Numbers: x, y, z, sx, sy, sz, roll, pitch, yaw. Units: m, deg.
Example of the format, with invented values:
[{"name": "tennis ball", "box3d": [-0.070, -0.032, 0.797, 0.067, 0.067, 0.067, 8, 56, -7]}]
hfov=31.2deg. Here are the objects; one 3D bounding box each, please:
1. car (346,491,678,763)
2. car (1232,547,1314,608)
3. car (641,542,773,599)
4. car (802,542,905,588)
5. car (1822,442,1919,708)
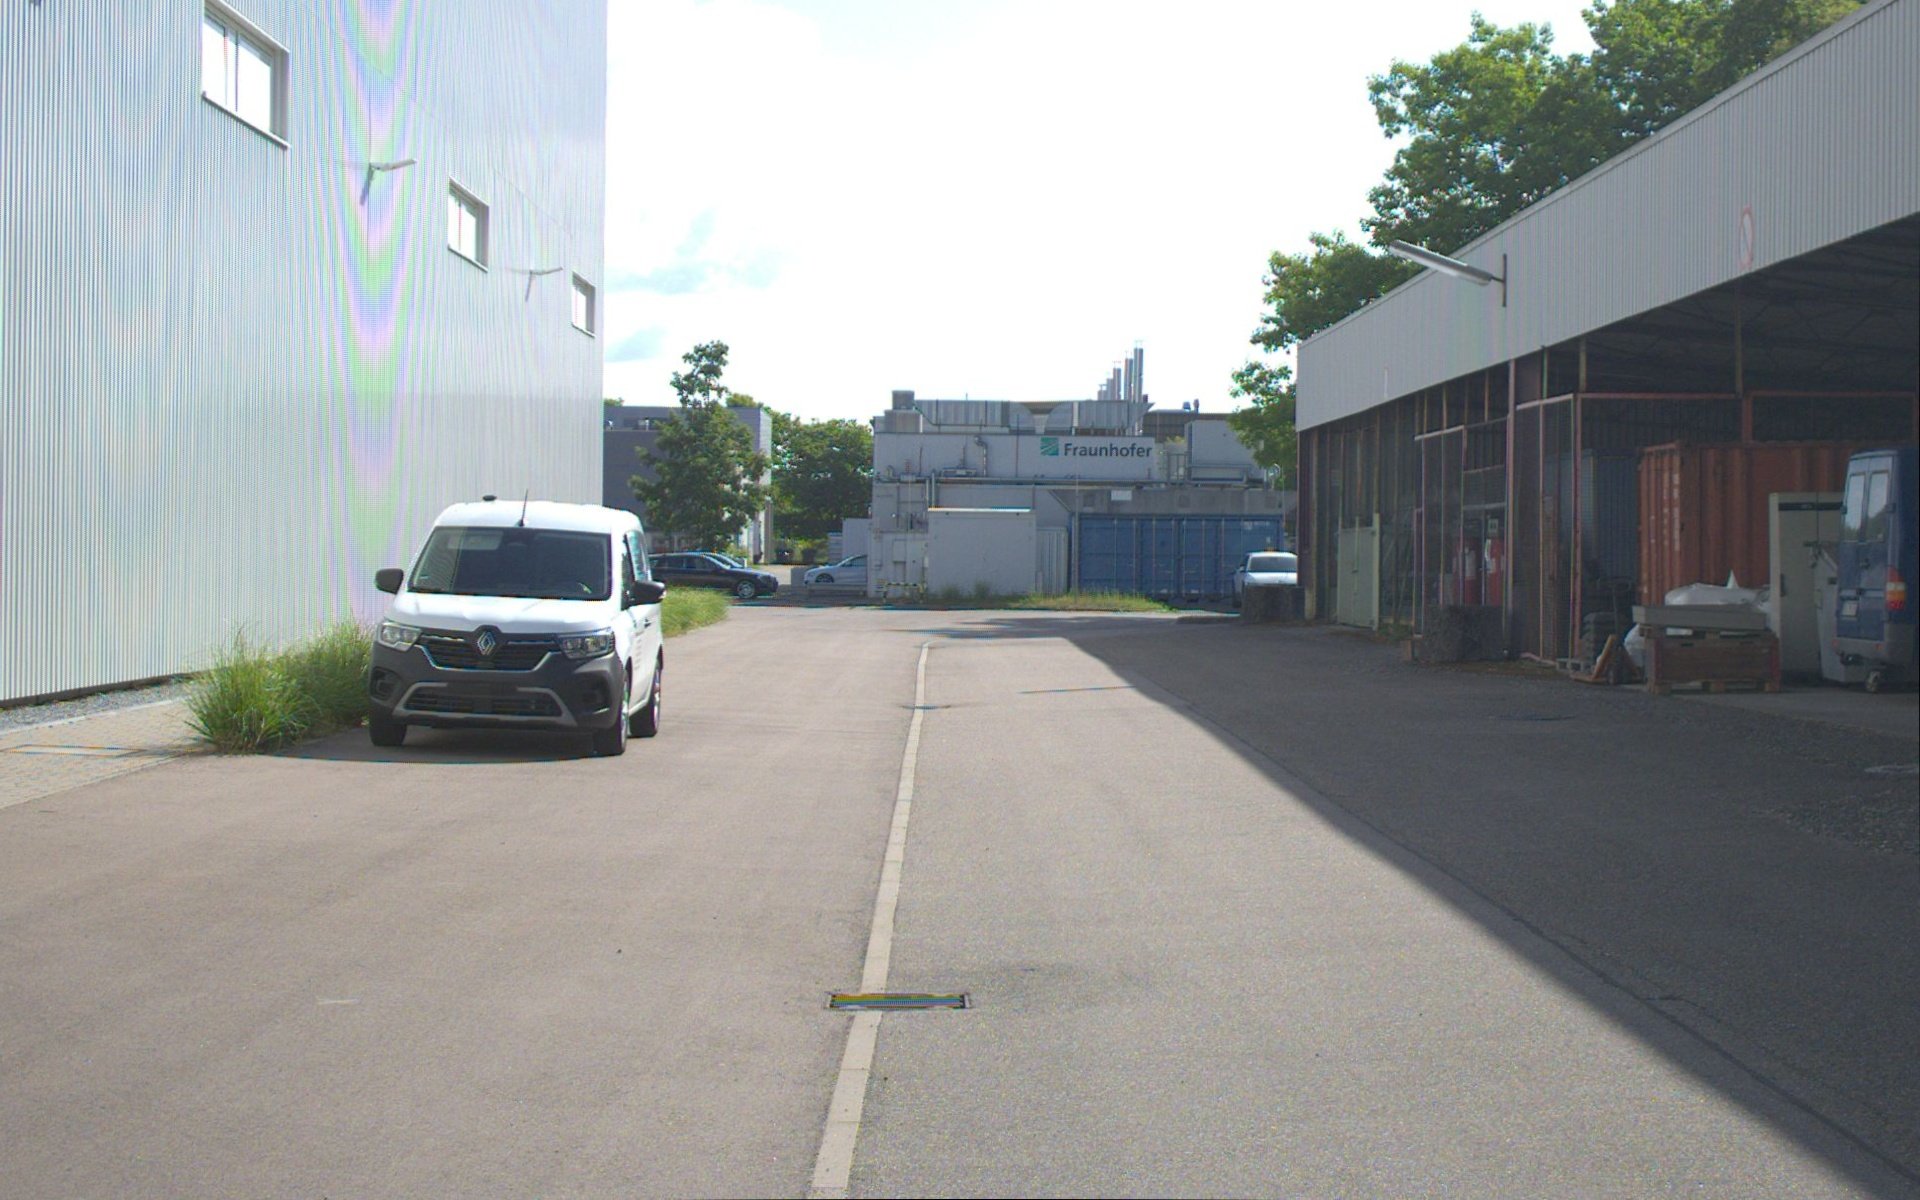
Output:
[{"name": "car", "box3d": [-3.223, 0.140, 25.553, 1.818, 1.781, 4.405, 2, 1, 0]}, {"name": "car", "box3d": [8.653, -0.640, 95.307, 1.962, 1.559, 4.059, 2, 1, 2]}, {"name": "car", "box3d": [-7.906, -0.926, 107.787, 3.987, 1.592, 1.742, 2, -1, -1]}, {"name": "car", "box3d": [-4.205, -1.373, 135.652, 3.987, 1.592, 1.848, 2, -1, -1]}, {"name": "car", "box3d": [10.213, -0.131, 30.824, 4.433, 2.302, 1.915, 2, -1, 1]}]
